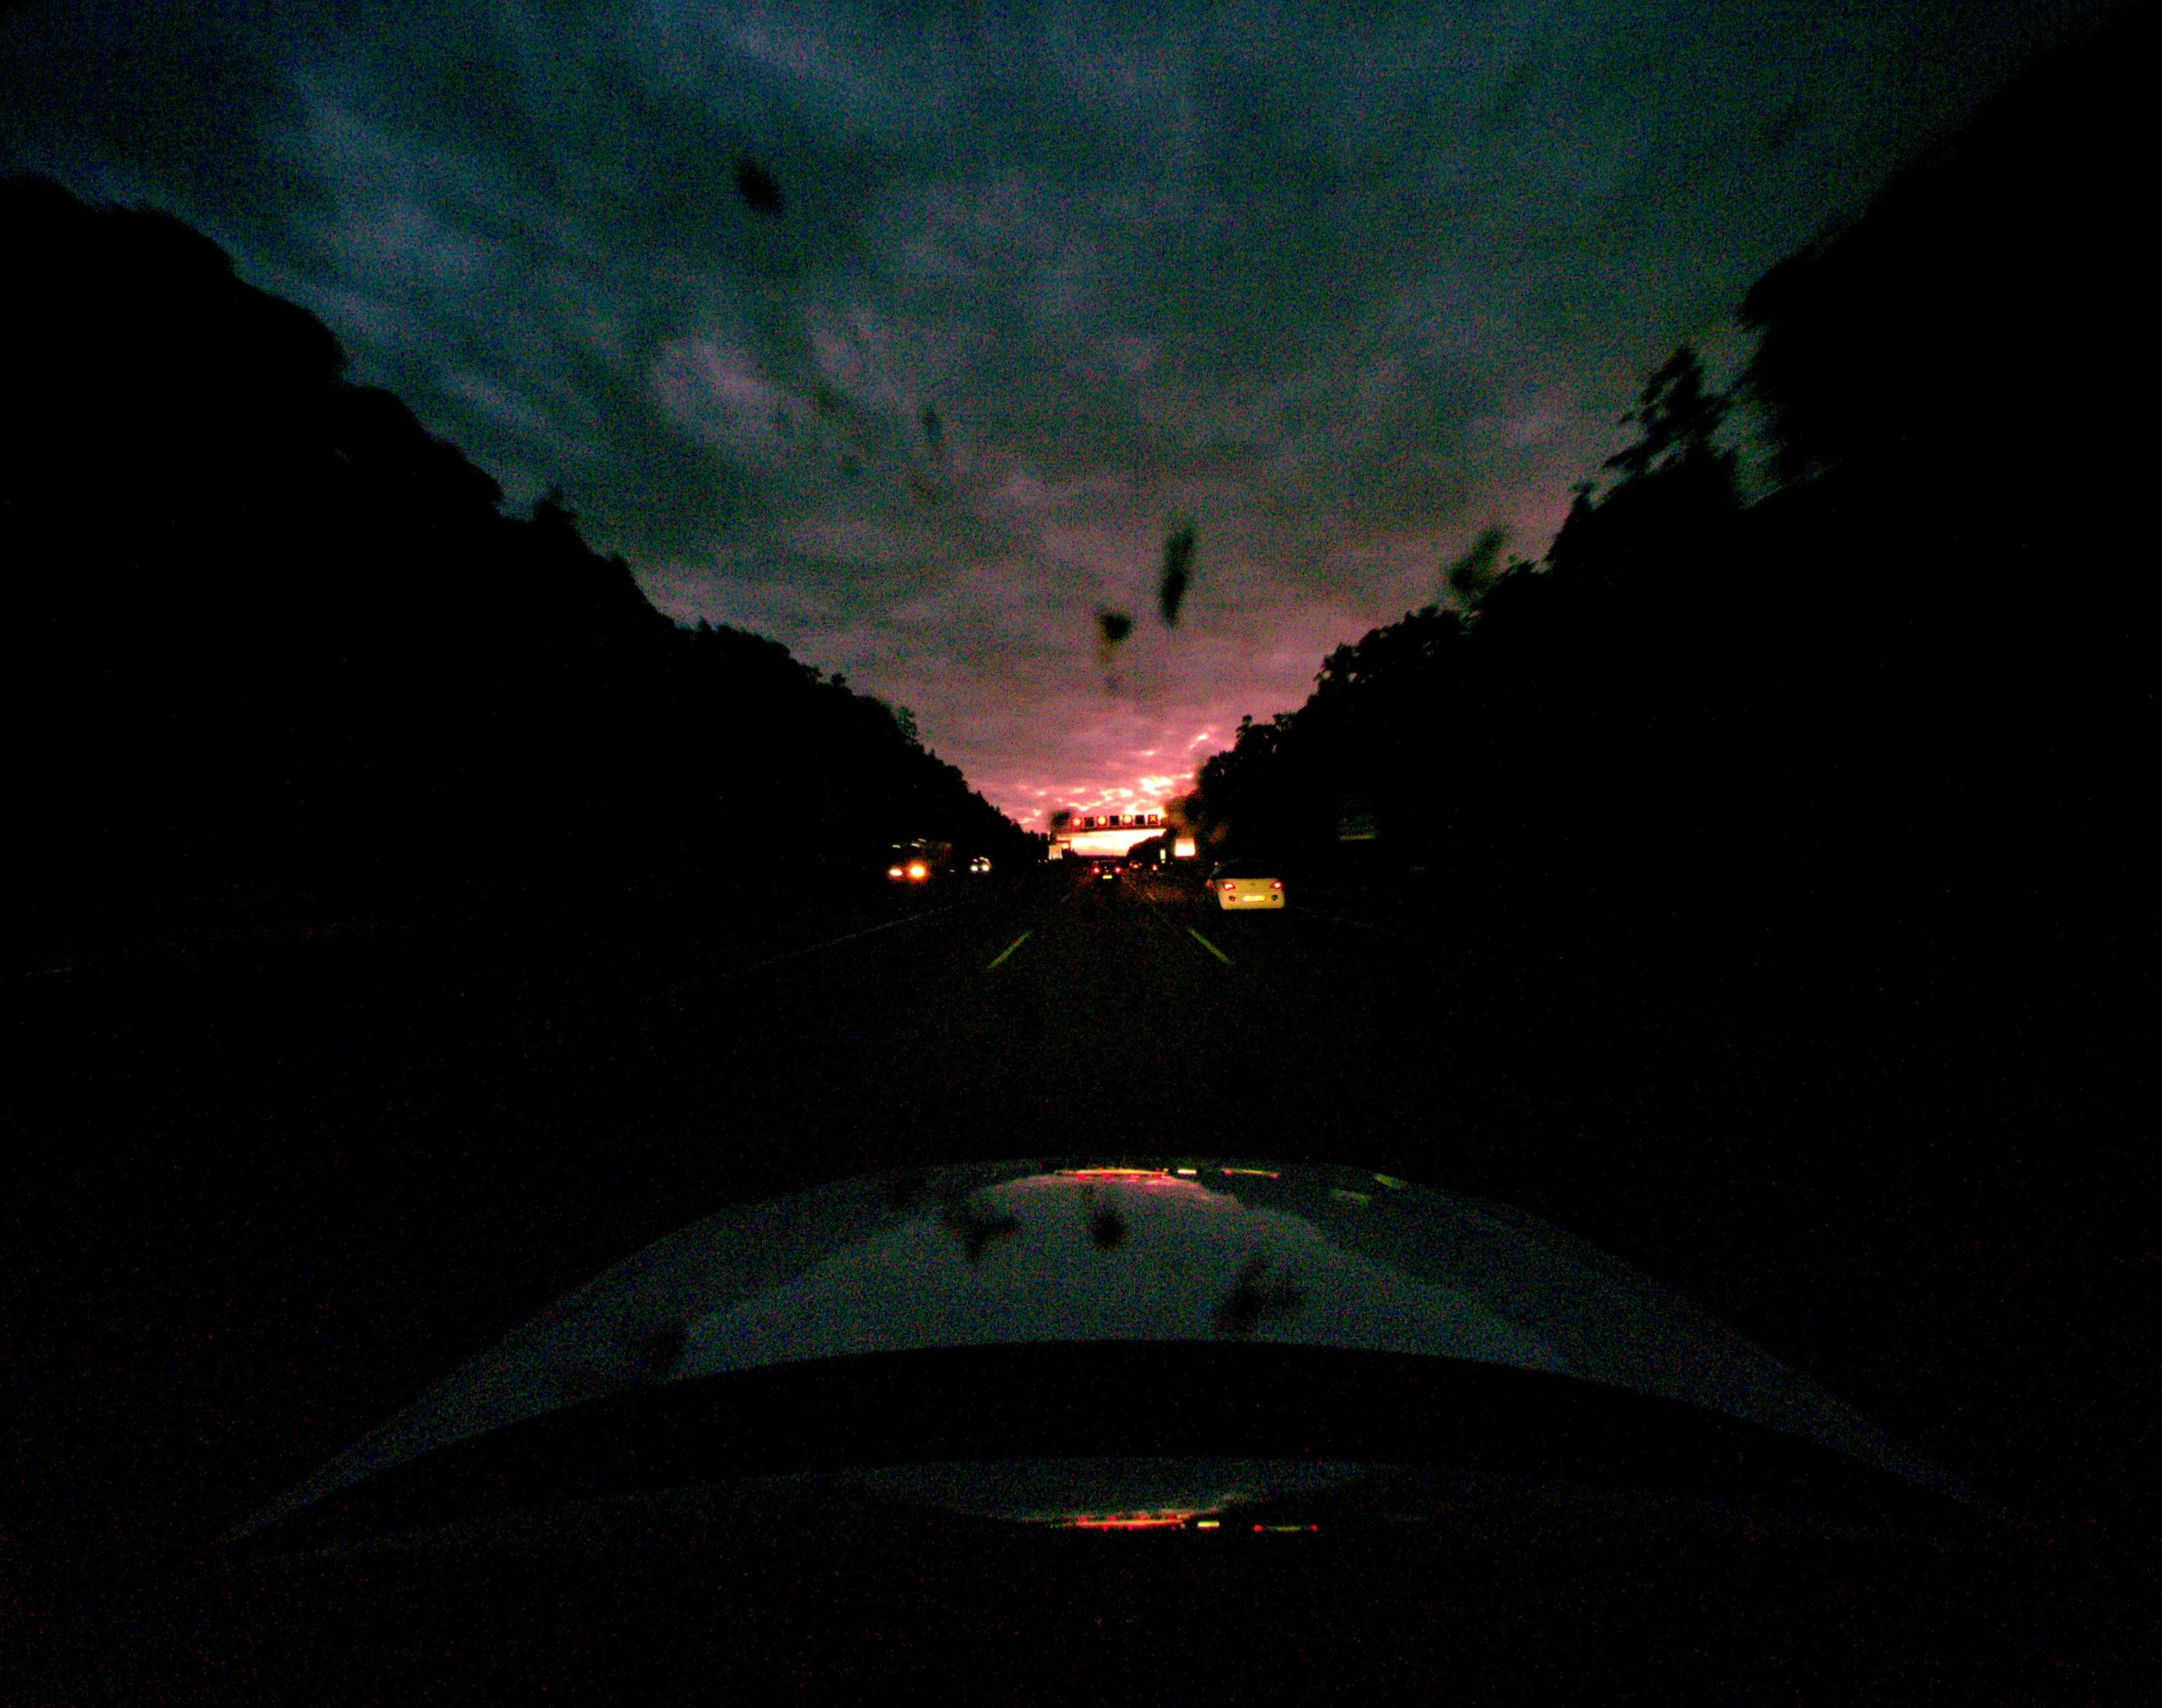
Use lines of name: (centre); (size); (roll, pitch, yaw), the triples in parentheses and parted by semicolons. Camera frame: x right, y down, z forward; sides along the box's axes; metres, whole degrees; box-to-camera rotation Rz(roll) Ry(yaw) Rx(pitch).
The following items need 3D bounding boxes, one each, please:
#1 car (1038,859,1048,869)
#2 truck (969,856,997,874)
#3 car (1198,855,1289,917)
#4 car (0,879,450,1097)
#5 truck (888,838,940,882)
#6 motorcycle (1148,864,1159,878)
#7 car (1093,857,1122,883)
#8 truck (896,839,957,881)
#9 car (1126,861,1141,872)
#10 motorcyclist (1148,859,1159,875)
car: (-11.309, 3.053, 243.563); (1.973, 2.880, 7.840); (-2, -1, 3)
truck: (-14.654, 1.665, 122.751); (2.450, 2.510, 9.762); (-1, -1, 3)
car: (4.333, 0.795, 22.348); (1.818, 1.475, 4.402); (-1, 0, 3)
car: (-11.005, 1.399, 10.339); (1.924, 1.931, 5.111); (-2, 0, 0)
truck: (-16.268, 0.540, 79.865); (3.368, 4.003, 6.880); (-2, 0, 1)
motorcycle: (6.310, 1.452, 70.876); (0.826, 1.134, 2.476); (-2, -1, 2)
car: (1.639, 0.988, 49.858); (1.697, 1.509, 4.234); (0, -1, 2)
truck: (-16.173, 0.609, 86.772); (3.345, 4.003, 14.498); (-2, 0, 1)
car: (7.676, 1.862, 119.384); (1.861, 1.494, 4.394); (0, -1, -3)
motorcyclist: (6.295, 1.136, 70.814); (0.826, 1.291, 1.190); (-2, -1, 1)
